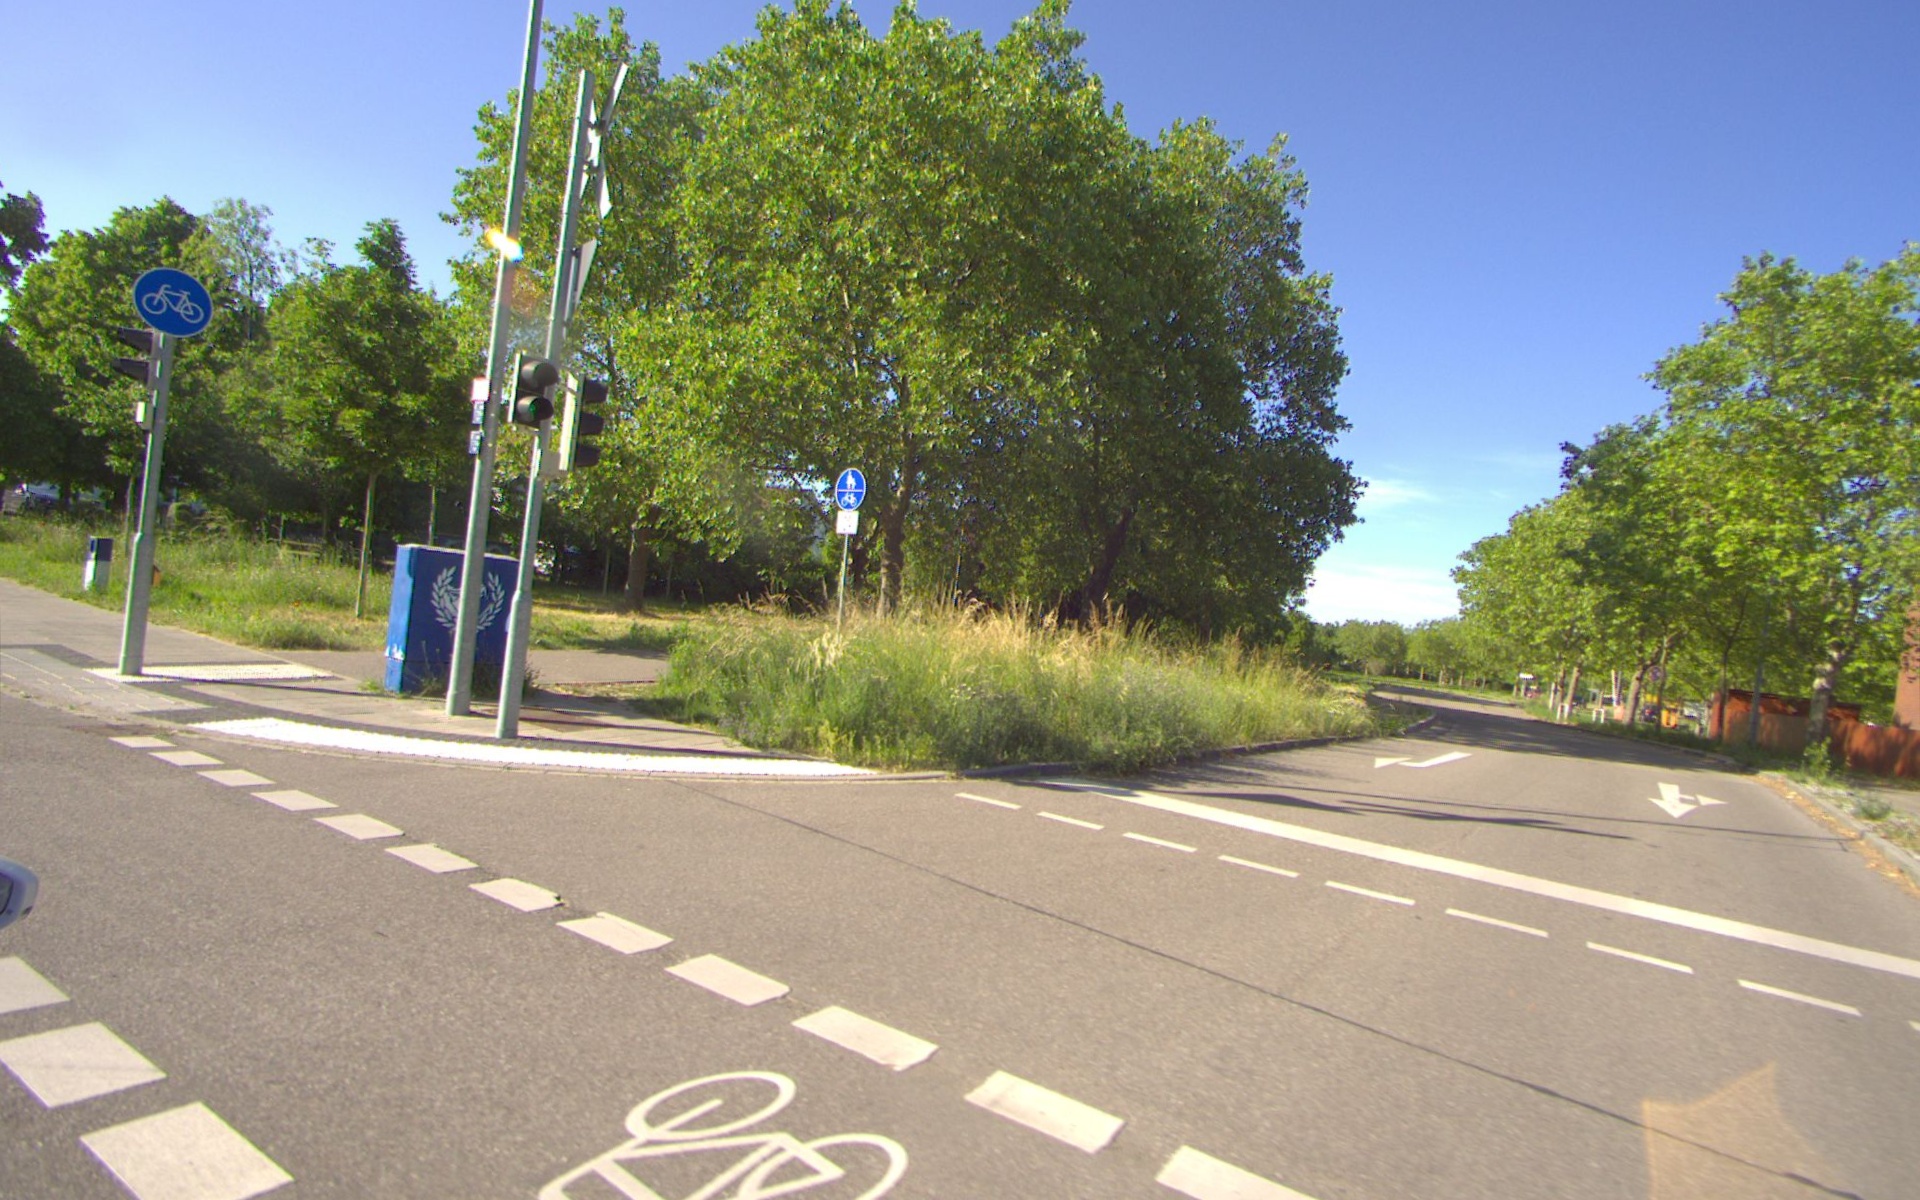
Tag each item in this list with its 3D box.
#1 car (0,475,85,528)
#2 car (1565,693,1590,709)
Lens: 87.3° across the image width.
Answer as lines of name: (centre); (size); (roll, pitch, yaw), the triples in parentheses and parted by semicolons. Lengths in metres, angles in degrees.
car: (-44.352, -4.752, 48.437); (5.083, 1.990, 1.874); (7, -1, 33)
car: (71.631, 11.690, 116.614); (1.935, 1.550, 3.985); (7, 0, 38)
